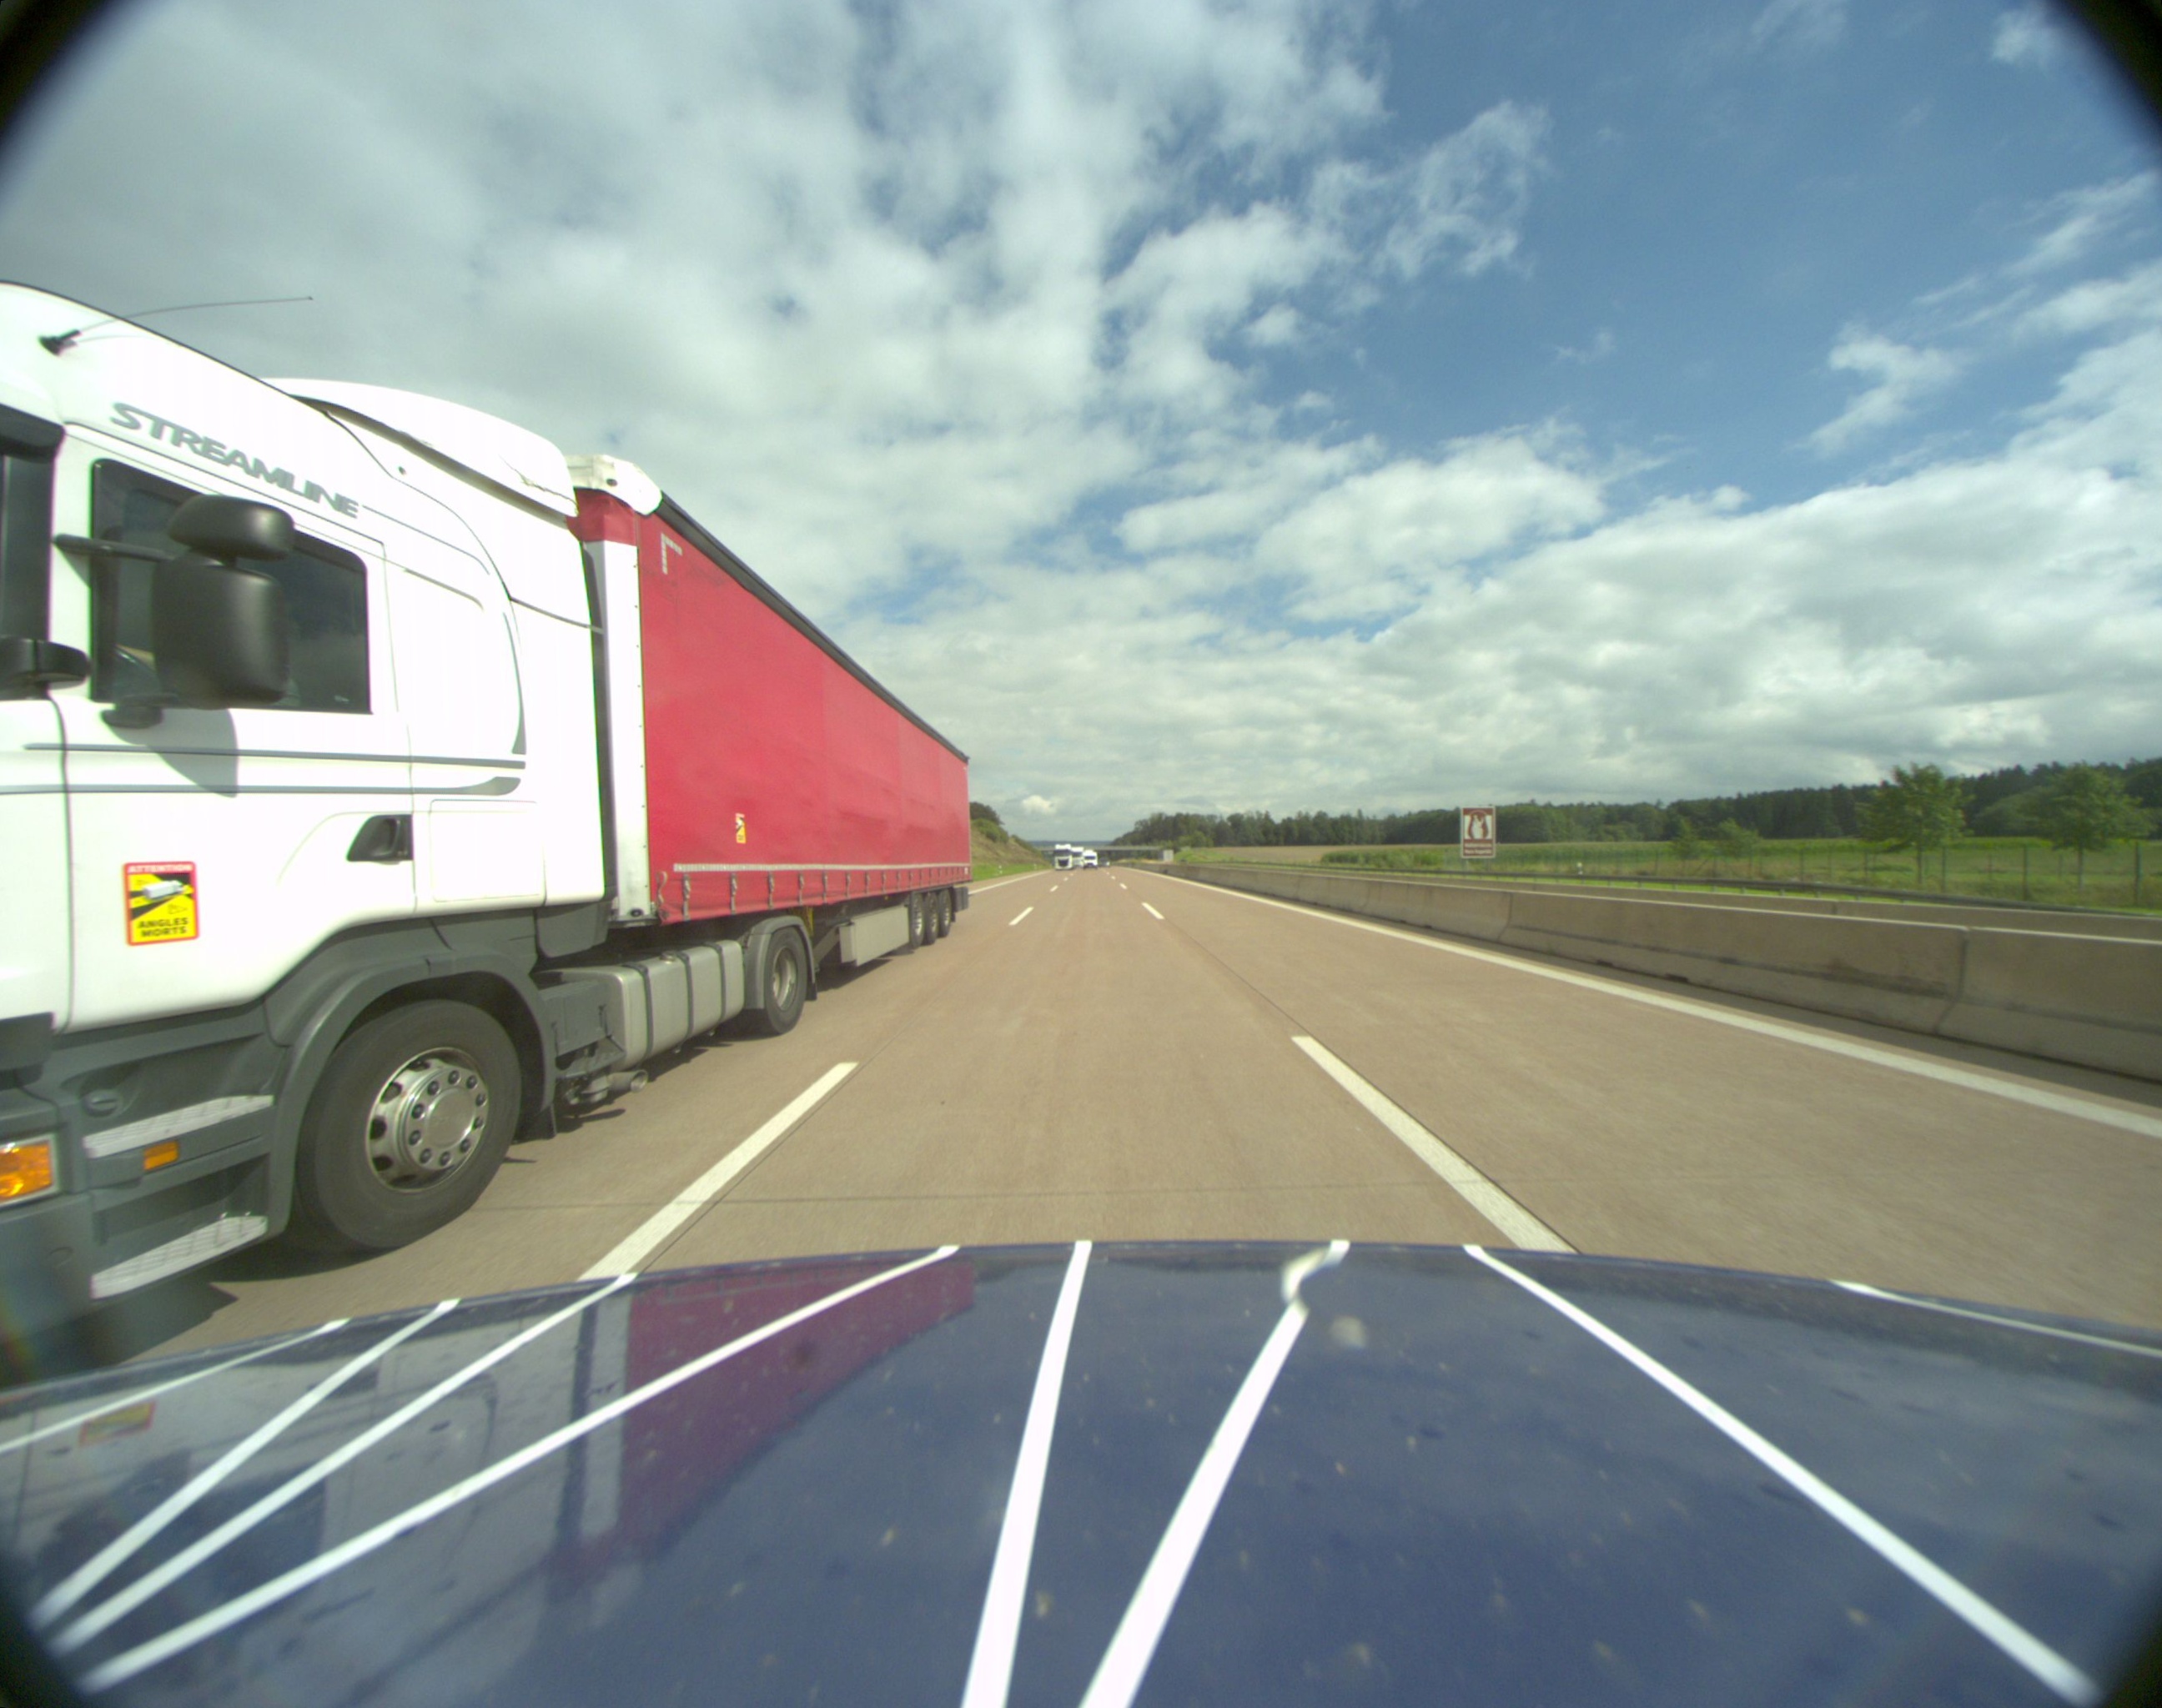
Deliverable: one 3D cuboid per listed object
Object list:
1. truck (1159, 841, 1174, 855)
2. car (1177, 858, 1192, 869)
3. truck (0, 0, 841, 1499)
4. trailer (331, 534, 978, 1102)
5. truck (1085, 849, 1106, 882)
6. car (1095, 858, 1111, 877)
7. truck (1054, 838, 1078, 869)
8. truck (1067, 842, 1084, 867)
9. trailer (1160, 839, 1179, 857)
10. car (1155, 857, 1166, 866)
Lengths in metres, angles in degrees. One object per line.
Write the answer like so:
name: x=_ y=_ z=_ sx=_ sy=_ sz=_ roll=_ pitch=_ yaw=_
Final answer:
truck: x=23.535 y=-1.574 z=209.286 sx=3.419 sy=3.801 sz=7.465 roll=-1 pitch=0 yaw=1
car: x=17.657 y=1.613 z=129.855 sx=1.999 sy=1.850 sz=4.195 roll=-1 pitch=0 yaw=0
truck: x=-4.061 y=-0.403 z=4.959 sx=2.681 sy=4.082 sz=6.615 roll=-2 pitch=0 yaw=1
trailer: x=-3.971 y=-0.284 z=11.933 sx=2.679 sy=4.070 sz=12.788 roll=-1 pitch=0 yaw=1
truck: x=2.031 y=1.518 z=108.896 sx=2.681 sy=4.334 sz=11.807 roll=-2 pitch=0 yaw=1
car: x=4.098 y=2.521 z=140.119 sx=2.773 sy=3.261 sz=6.392 roll=-2 pitch=0 yaw=2
truck: x=-2.132 y=-0.055 z=114.890 sx=3.107 sy=4.334 sz=11.255 roll=-2 pitch=0 yaw=1
truck: x=-1.080 y=0.065 z=150.580 sx=2.927 sy=4.659 sz=11.807 roll=-2 pitch=0 yaw=1
trailer: x=23.345 y=-1.577 z=200.965 sx=3.413 sy=4.549 sz=13.871 roll=-1 pitch=0 yaw=1
car: x=18.460 y=1.746 z=175.917 sx=1.999 sy=1.850 sz=4.000 roll=-1 pitch=0 yaw=0
